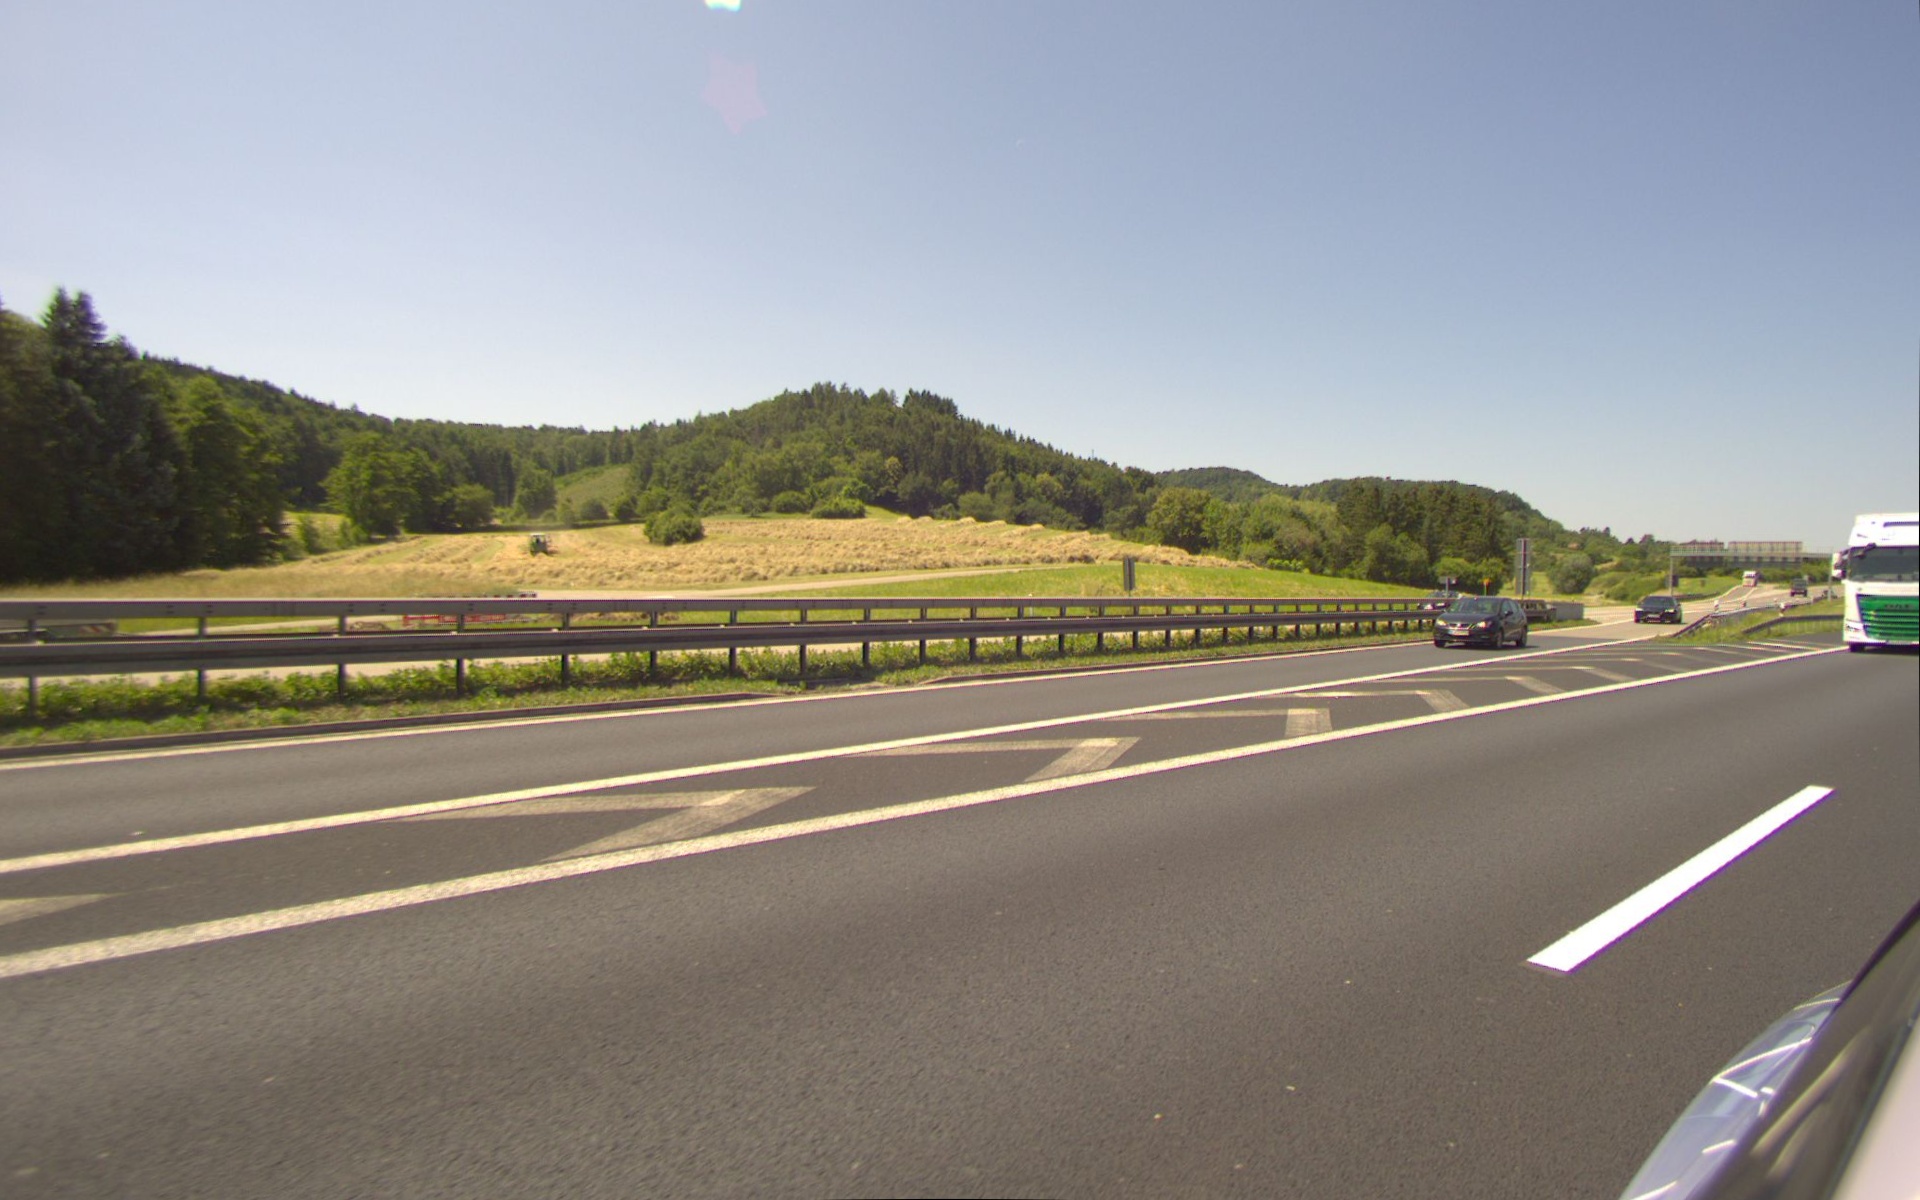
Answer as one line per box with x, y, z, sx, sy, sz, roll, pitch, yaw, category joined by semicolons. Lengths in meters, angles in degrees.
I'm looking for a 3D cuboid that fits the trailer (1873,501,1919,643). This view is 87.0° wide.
34.415;-0.869;34.936;14.636;4.241;2.660;0;0;-42;trailer

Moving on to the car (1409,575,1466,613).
27.390;-0.378;57.993;1.992;2.038;3.941;2;2;41;car

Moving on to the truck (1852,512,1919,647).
27.321;-0.572;28.612;4.328;3.638;2.646;-1;0;-42;truck

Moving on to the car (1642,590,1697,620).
36.651;0.213;52.246;1.885;1.491;3.809;0;1;42;car

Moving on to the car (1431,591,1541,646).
14.784;0.459;28.373;1.777;1.417;3.701;0;1;44;car
